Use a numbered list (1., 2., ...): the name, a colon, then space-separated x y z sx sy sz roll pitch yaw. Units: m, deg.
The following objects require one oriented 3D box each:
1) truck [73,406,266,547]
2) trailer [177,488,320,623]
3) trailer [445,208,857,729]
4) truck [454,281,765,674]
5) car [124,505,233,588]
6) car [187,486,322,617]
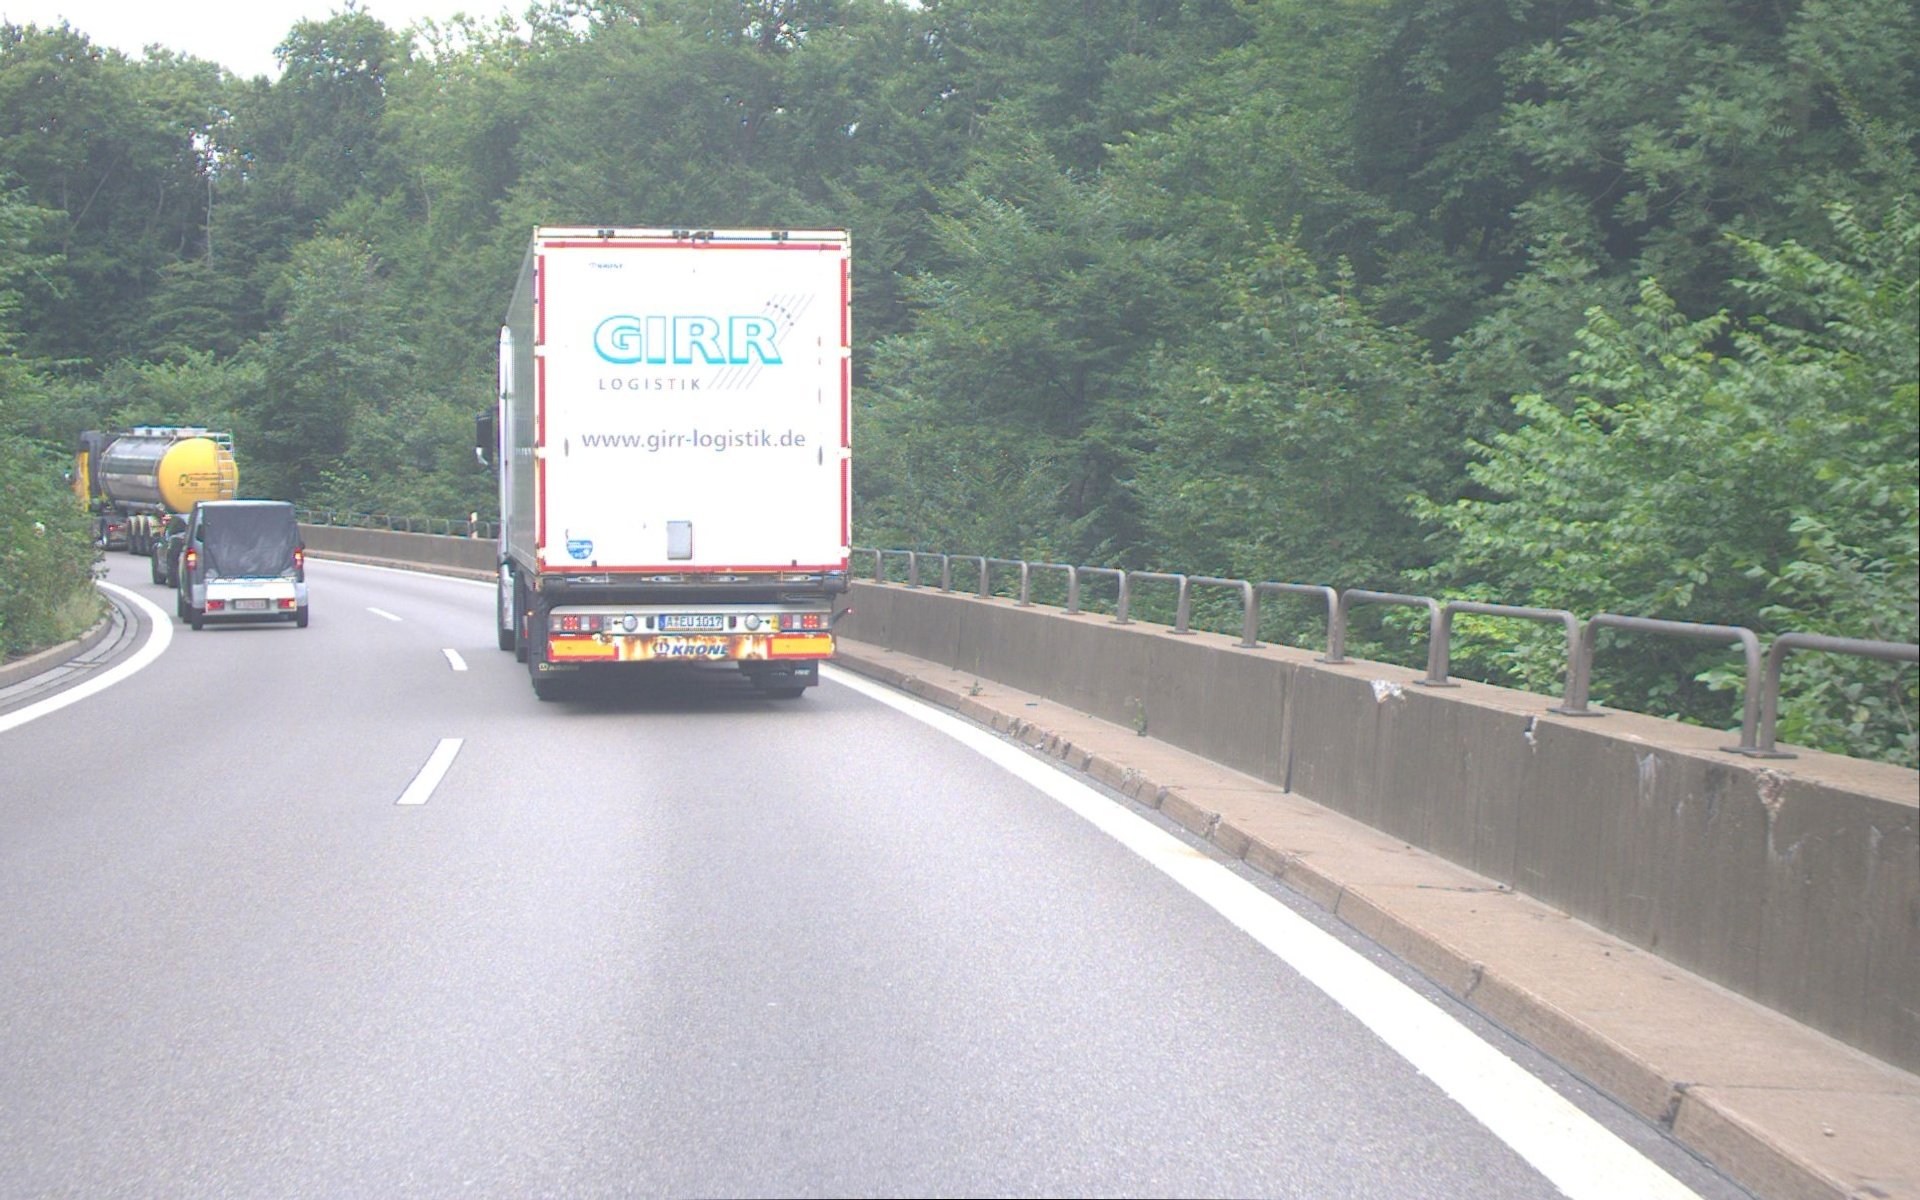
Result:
1. truck: -24.066 -3.616 104.031 3.057 3.972 13.701 0 1 -24
2. trailer: -10.729 -0.667 52.030 1.970 1.933 3.431 1 0 -10
3. trailer: -3.264 -1.327 33.301 3.057 3.972 12.141 3 2 -8
4. truck: -4.162 -1.453 39.701 3.057 3.972 7.190 3 2 -8
5. car: -16.742 -1.148 73.503 1.993 1.711 4.001 0 1 -17
6. car: -11.521 -0.785 56.440 1.993 2.007 5.542 1 0 -10
